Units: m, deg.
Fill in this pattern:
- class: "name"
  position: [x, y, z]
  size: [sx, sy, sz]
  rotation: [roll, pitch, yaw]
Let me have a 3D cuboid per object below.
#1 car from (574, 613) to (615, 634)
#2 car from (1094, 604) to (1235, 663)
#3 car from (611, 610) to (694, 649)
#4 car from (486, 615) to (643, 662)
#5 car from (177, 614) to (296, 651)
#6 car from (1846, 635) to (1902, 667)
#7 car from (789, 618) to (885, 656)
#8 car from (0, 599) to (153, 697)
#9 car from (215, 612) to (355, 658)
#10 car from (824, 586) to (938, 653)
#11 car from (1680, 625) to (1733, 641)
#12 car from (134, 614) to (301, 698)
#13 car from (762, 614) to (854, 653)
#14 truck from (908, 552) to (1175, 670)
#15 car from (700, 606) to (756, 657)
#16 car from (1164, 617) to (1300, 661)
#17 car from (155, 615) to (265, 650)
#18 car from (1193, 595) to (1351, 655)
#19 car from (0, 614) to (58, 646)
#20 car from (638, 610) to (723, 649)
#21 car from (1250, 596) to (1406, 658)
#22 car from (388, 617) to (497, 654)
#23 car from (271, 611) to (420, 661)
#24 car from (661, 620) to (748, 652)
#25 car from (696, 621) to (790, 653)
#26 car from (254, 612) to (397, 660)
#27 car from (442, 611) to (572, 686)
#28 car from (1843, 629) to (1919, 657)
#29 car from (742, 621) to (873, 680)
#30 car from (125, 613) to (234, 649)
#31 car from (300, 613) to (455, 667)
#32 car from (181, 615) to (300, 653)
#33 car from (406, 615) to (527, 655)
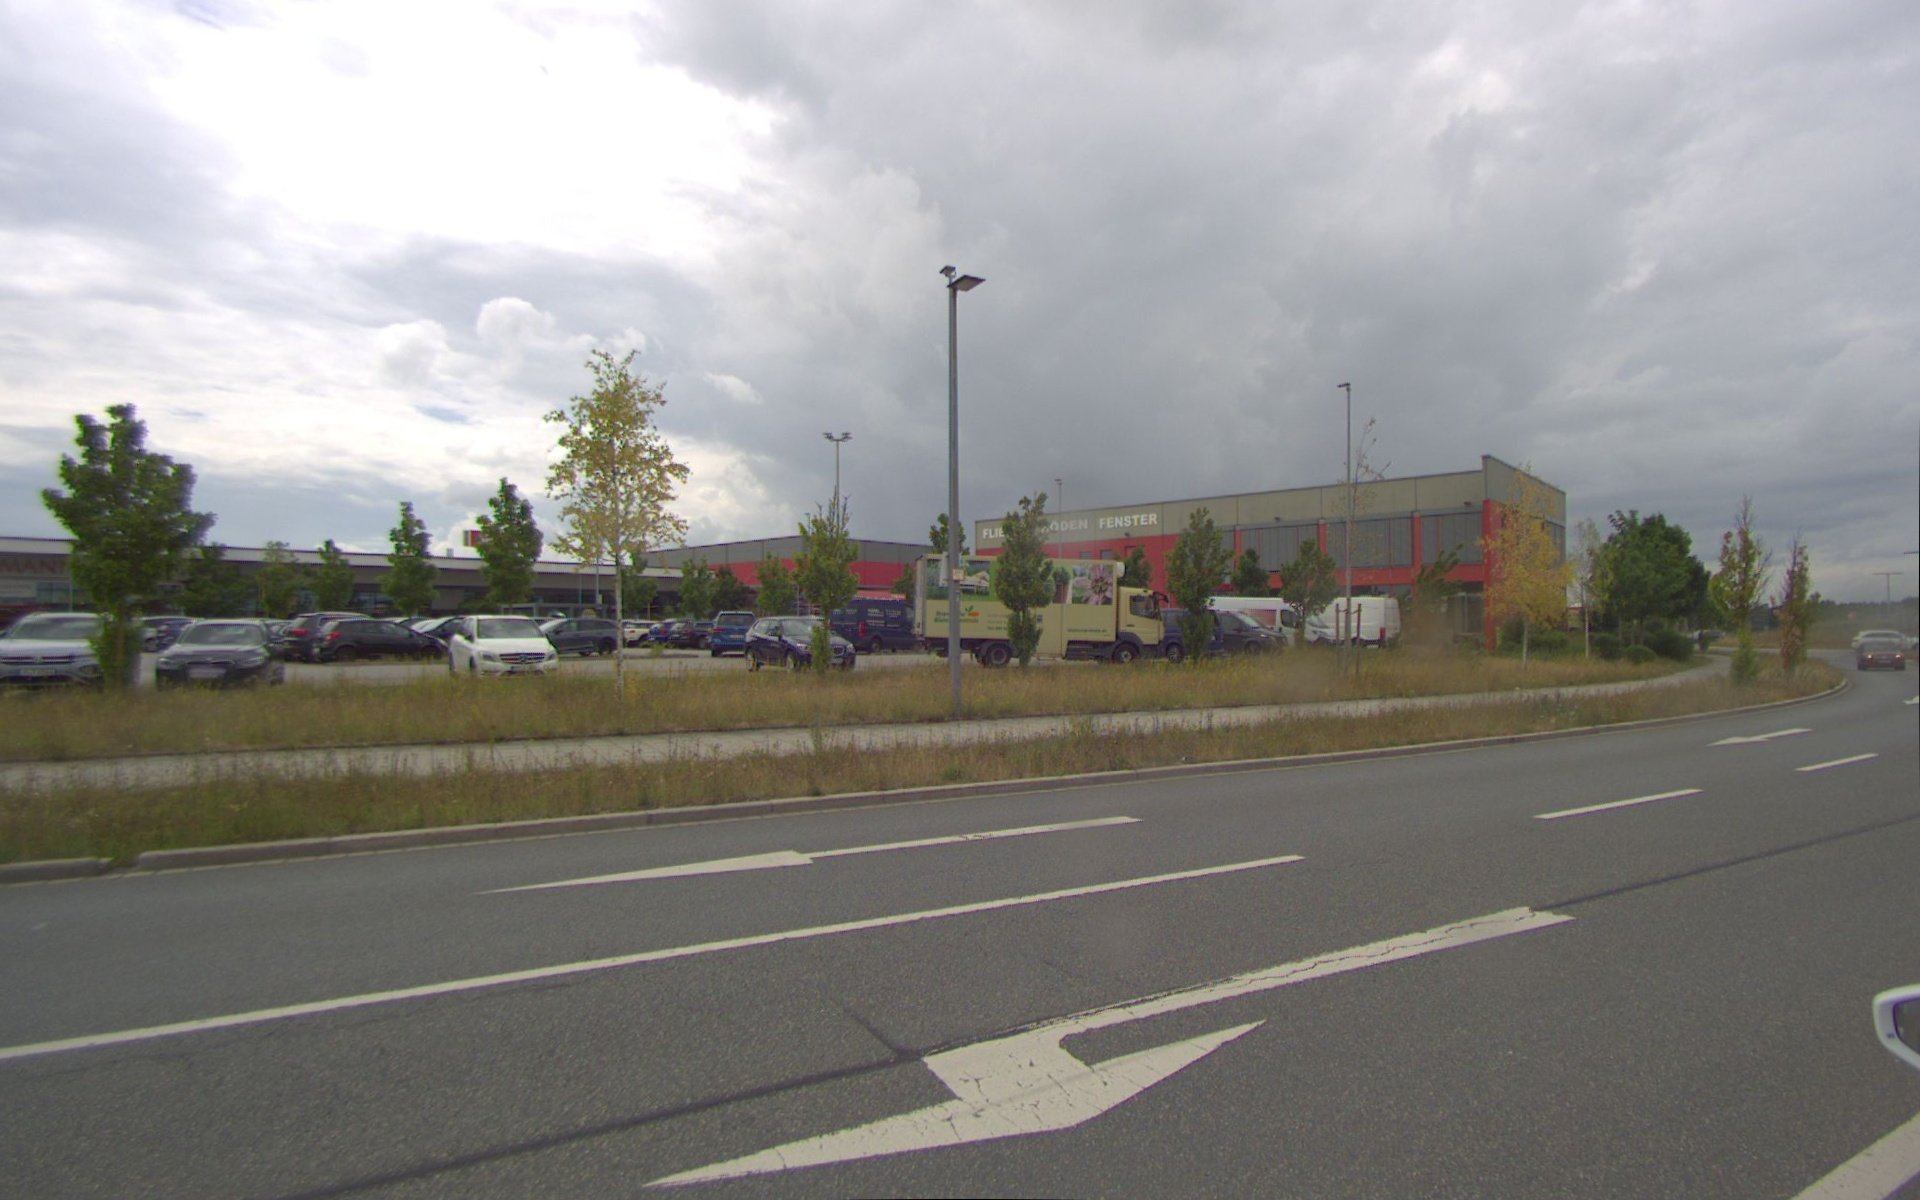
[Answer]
- class: "car"
  position: [-30.433, 1.961, 83.566]
  size: [1.985, 1.628, 3.952]
  rotation: [2, -2, -41]
- class: "car"
  position: [7.424, 1.213, 36.922]
  size: [2.160, 2.016, 4.864]
  rotation: [2, -2, -38]
- class: "car"
  position: [-16.890, 1.606, 55.333]
  size: [1.970, 2.040, 3.982]
  rotation: [0, -2, 39]
- class: "car"
  position: [-14.805, 1.431, 37.908]
  size: [1.970, 1.628, 5.248]
  rotation: [-1, -2, 40]
- class: "car"
  position: [-34.302, 1.536, 47.709]
  size: [1.970, 1.628, 4.273]
  rotation: [-2, -2, 40]
- class: "car"
  position: [51.422, 2.875, 56.573]
  size: [1.776, 1.691, 4.312]
  rotation: [-4, -4, 36]
- class: "car"
  position: [-5.420, 1.632, 44.676]
  size: [1.970, 1.628, 3.981]
  rotation: [-2, -2, 40]
- class: "car"
  position: [-17.630, 0.901, 19.854]
  size: [2.005, 1.745, 4.221]
  rotation: [1, -2, -31]
- class: "car"
  position: [-25.264, 1.312, 37.701]
  size: [1.970, 1.628, 3.982]
  rotation: [-1, -2, 40]
- class: "car"
  position: [-3.308, 0.871, 43.178]
  size: [2.032, 2.726, 5.127]
  rotation: [-1, -2, 37]
- class: "car"
  position: [75.251, 3.331, 101.327]
  size: [3.925, 1.425, 1.846]
  rotation: [-3, -3, 25]
- class: "car"
  position: [-15.068, 1.071, 20.644]
  size: [2.019, 1.533, 4.228]
  rotation: [1, -1, -26]
- class: "car"
  position: [-7.019, 1.538, 46.684]
  size: [1.970, 1.751, 3.981]
  rotation: [-1, -2, 40]
- class: "truck"
  position: [2.574, 0.414, 32.836]
  size: [8.277, 3.588, 2.854]
  rotation: [1, -1, -10]
- class: "car"
  position: [-8.627, 1.164, 37.289]
  size: [1.944, 1.795, 3.990]
  rotation: [0, -2, -14]
- class: "car"
  position: [10.763, 1.519, 39.948]
  size: [4.846, 1.638, 1.985]
  rotation: [-1, -2, 41]
- class: "car"
  position: [-36.487, 1.564, 48.944]
  size: [1.970, 1.628, 3.981]
  rotation: [-2, -2, 40]
- class: "car"
  position: [12.997, 1.031, 42.088]
  size: [6.004, 2.337, 2.198]
  rotation: [-1, -2, 43]
- class: "car"
  position: [-49.849, 1.600, 53.546]
  size: [3.938, 1.628, 1.992]
  rotation: [-2, -2, 38]
- class: "car"
  position: [-14.874, 1.562, 53.553]
  size: [1.970, 2.040, 3.982]
  rotation: [0, -2, 39]
- class: "car"
  position: [16.573, 1.211, 45.569]
  size: [6.341, 2.632, 2.230]
  rotation: [-1, -2, 44]
- class: "car"
  position: [-23.619, 1.610, 45.935]
  size: [1.970, 1.628, 3.981]
  rotation: [-2, -2, 40]
- class: "car"
  position: [-20.983, 1.215, 34.406]
  size: [1.826, 1.628, 3.981]
  rotation: [-1, -2, 40]
- class: "car"
  position: [-13.013, 1.814, 51.317]
  size: [1.970, 1.561, 3.981]
  rotation: [-2, -2, 40]
- class: "car"
  position: [-10.708, 1.826, 49.759]
  size: [1.973, 1.539, 4.204]
  rotation: [-2, -2, 44]
- class: "car"
  position: [-22.919, 1.299, 36.368]
  size: [1.970, 1.628, 3.981]
  rotation: [-2, -2, 40]
- class: "car"
  position: [-10.660, 1.084, 23.474]
  size: [1.970, 1.579, 4.218]
  rotation: [1, -2, -36]
- class: "car"
  position: [68.594, 3.163, 74.448]
  size: [1.986, 2.040, 4.566]
  rotation: [2, -2, -43]
- class: "car"
  position: [-4.223, 1.331, 27.325]
  size: [1.976, 1.454, 4.208]
  rotation: [1, -2, -33]
- class: "car"
  position: [-39.015, 1.541, 50.255]
  size: [1.970, 1.755, 3.981]
  rotation: [-1, -2, 40]
- class: "car"
  position: [-18.991, 1.290, 32.877]
  size: [1.970, 1.628, 3.981]
  rotation: [-2, -2, 40]
- class: "car"
  position: [-32.344, 1.502, 45.232]
  size: [1.970, 1.628, 3.981]
  rotation: [-2, -2, 40]
- class: "car"
  position: [-21.501, 1.509, 43.868]
  size: [1.973, 1.628, 4.360]
  rotation: [-2, -2, 44]
